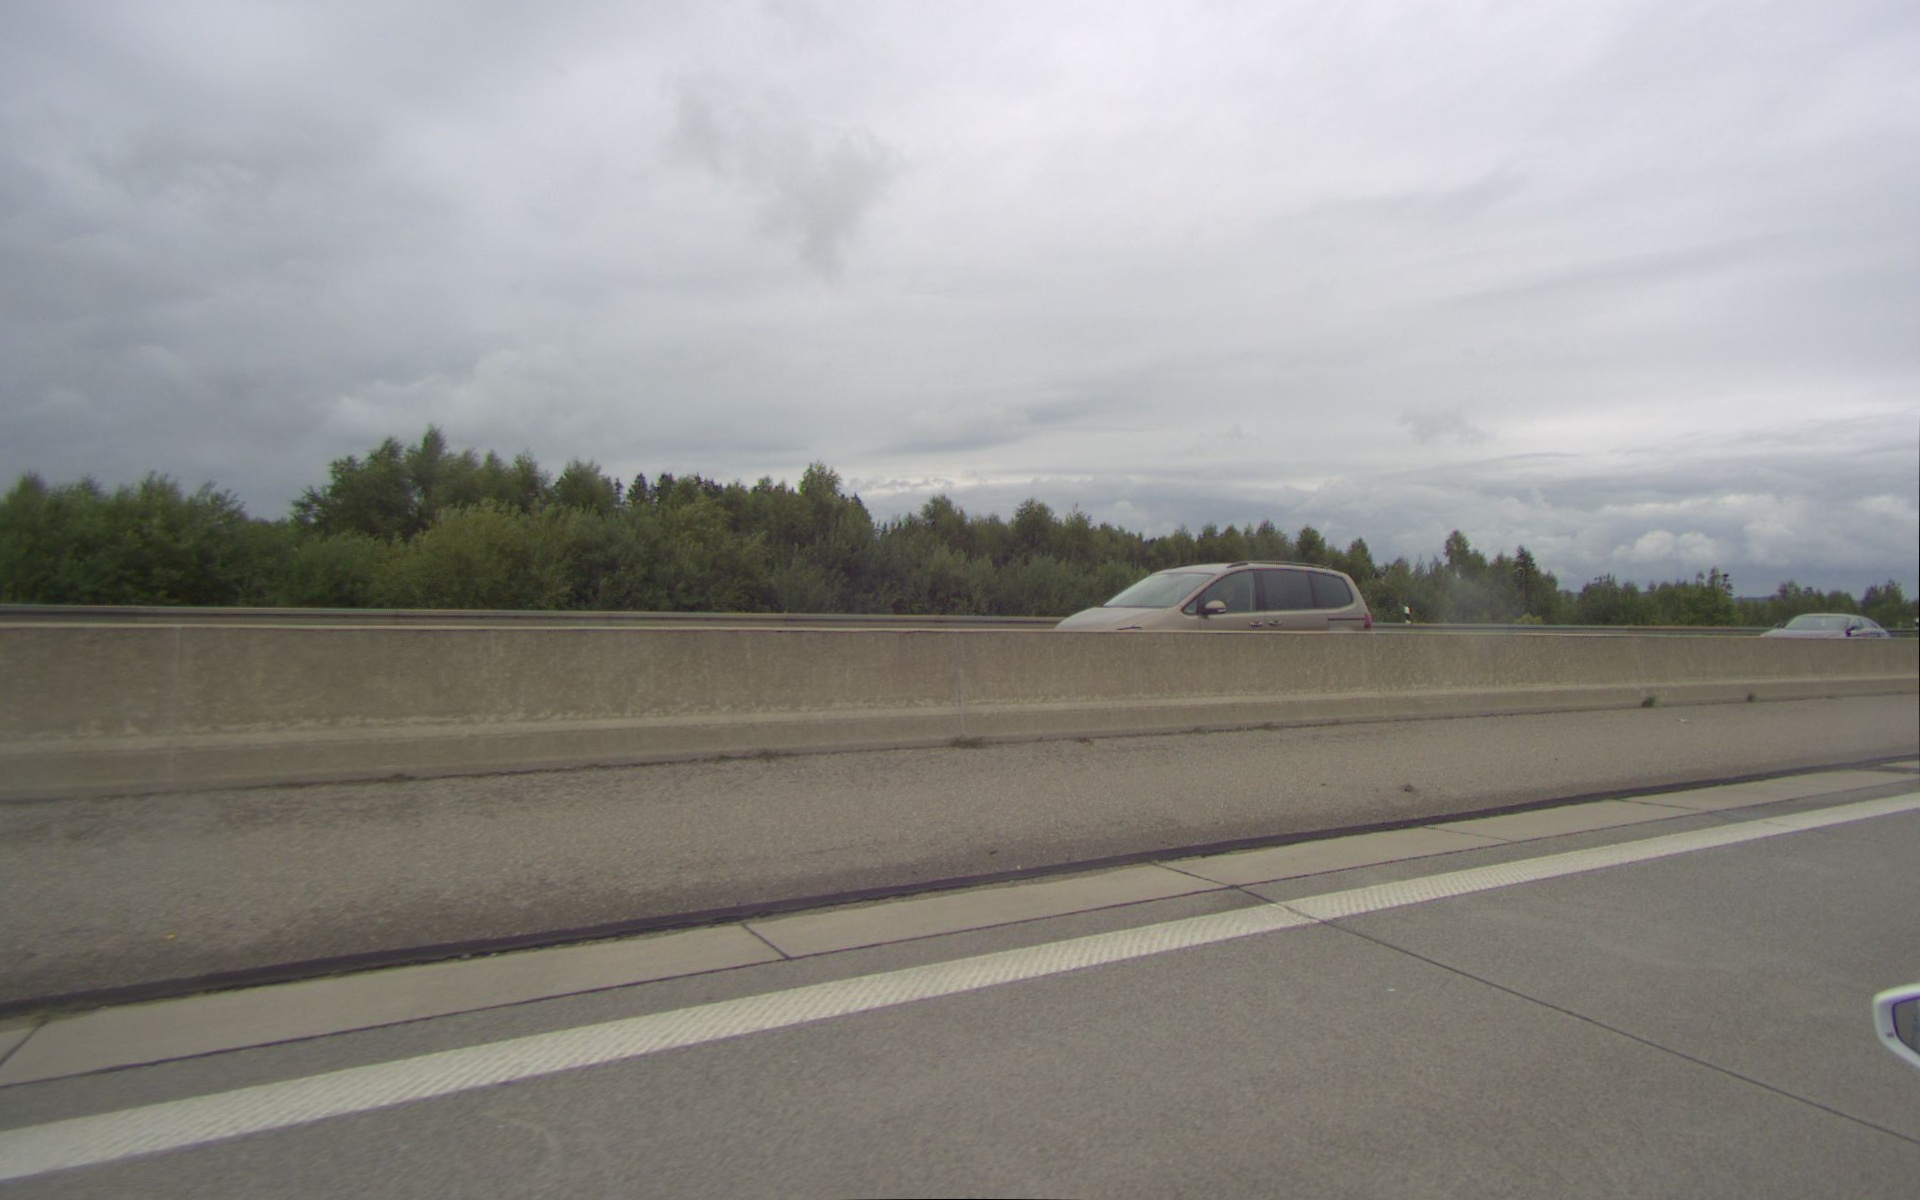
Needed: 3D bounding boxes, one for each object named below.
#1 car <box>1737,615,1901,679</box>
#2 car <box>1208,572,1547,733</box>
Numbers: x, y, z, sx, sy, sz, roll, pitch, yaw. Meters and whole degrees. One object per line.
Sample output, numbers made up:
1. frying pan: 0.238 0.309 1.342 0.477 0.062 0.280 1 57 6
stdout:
1. car: 24.934 1.315 29.111 5.207 1.689 2.024 1 0 -30
2. car: 6.271 0.673 14.873 5.216 2.040 1.891 0 0 -31
